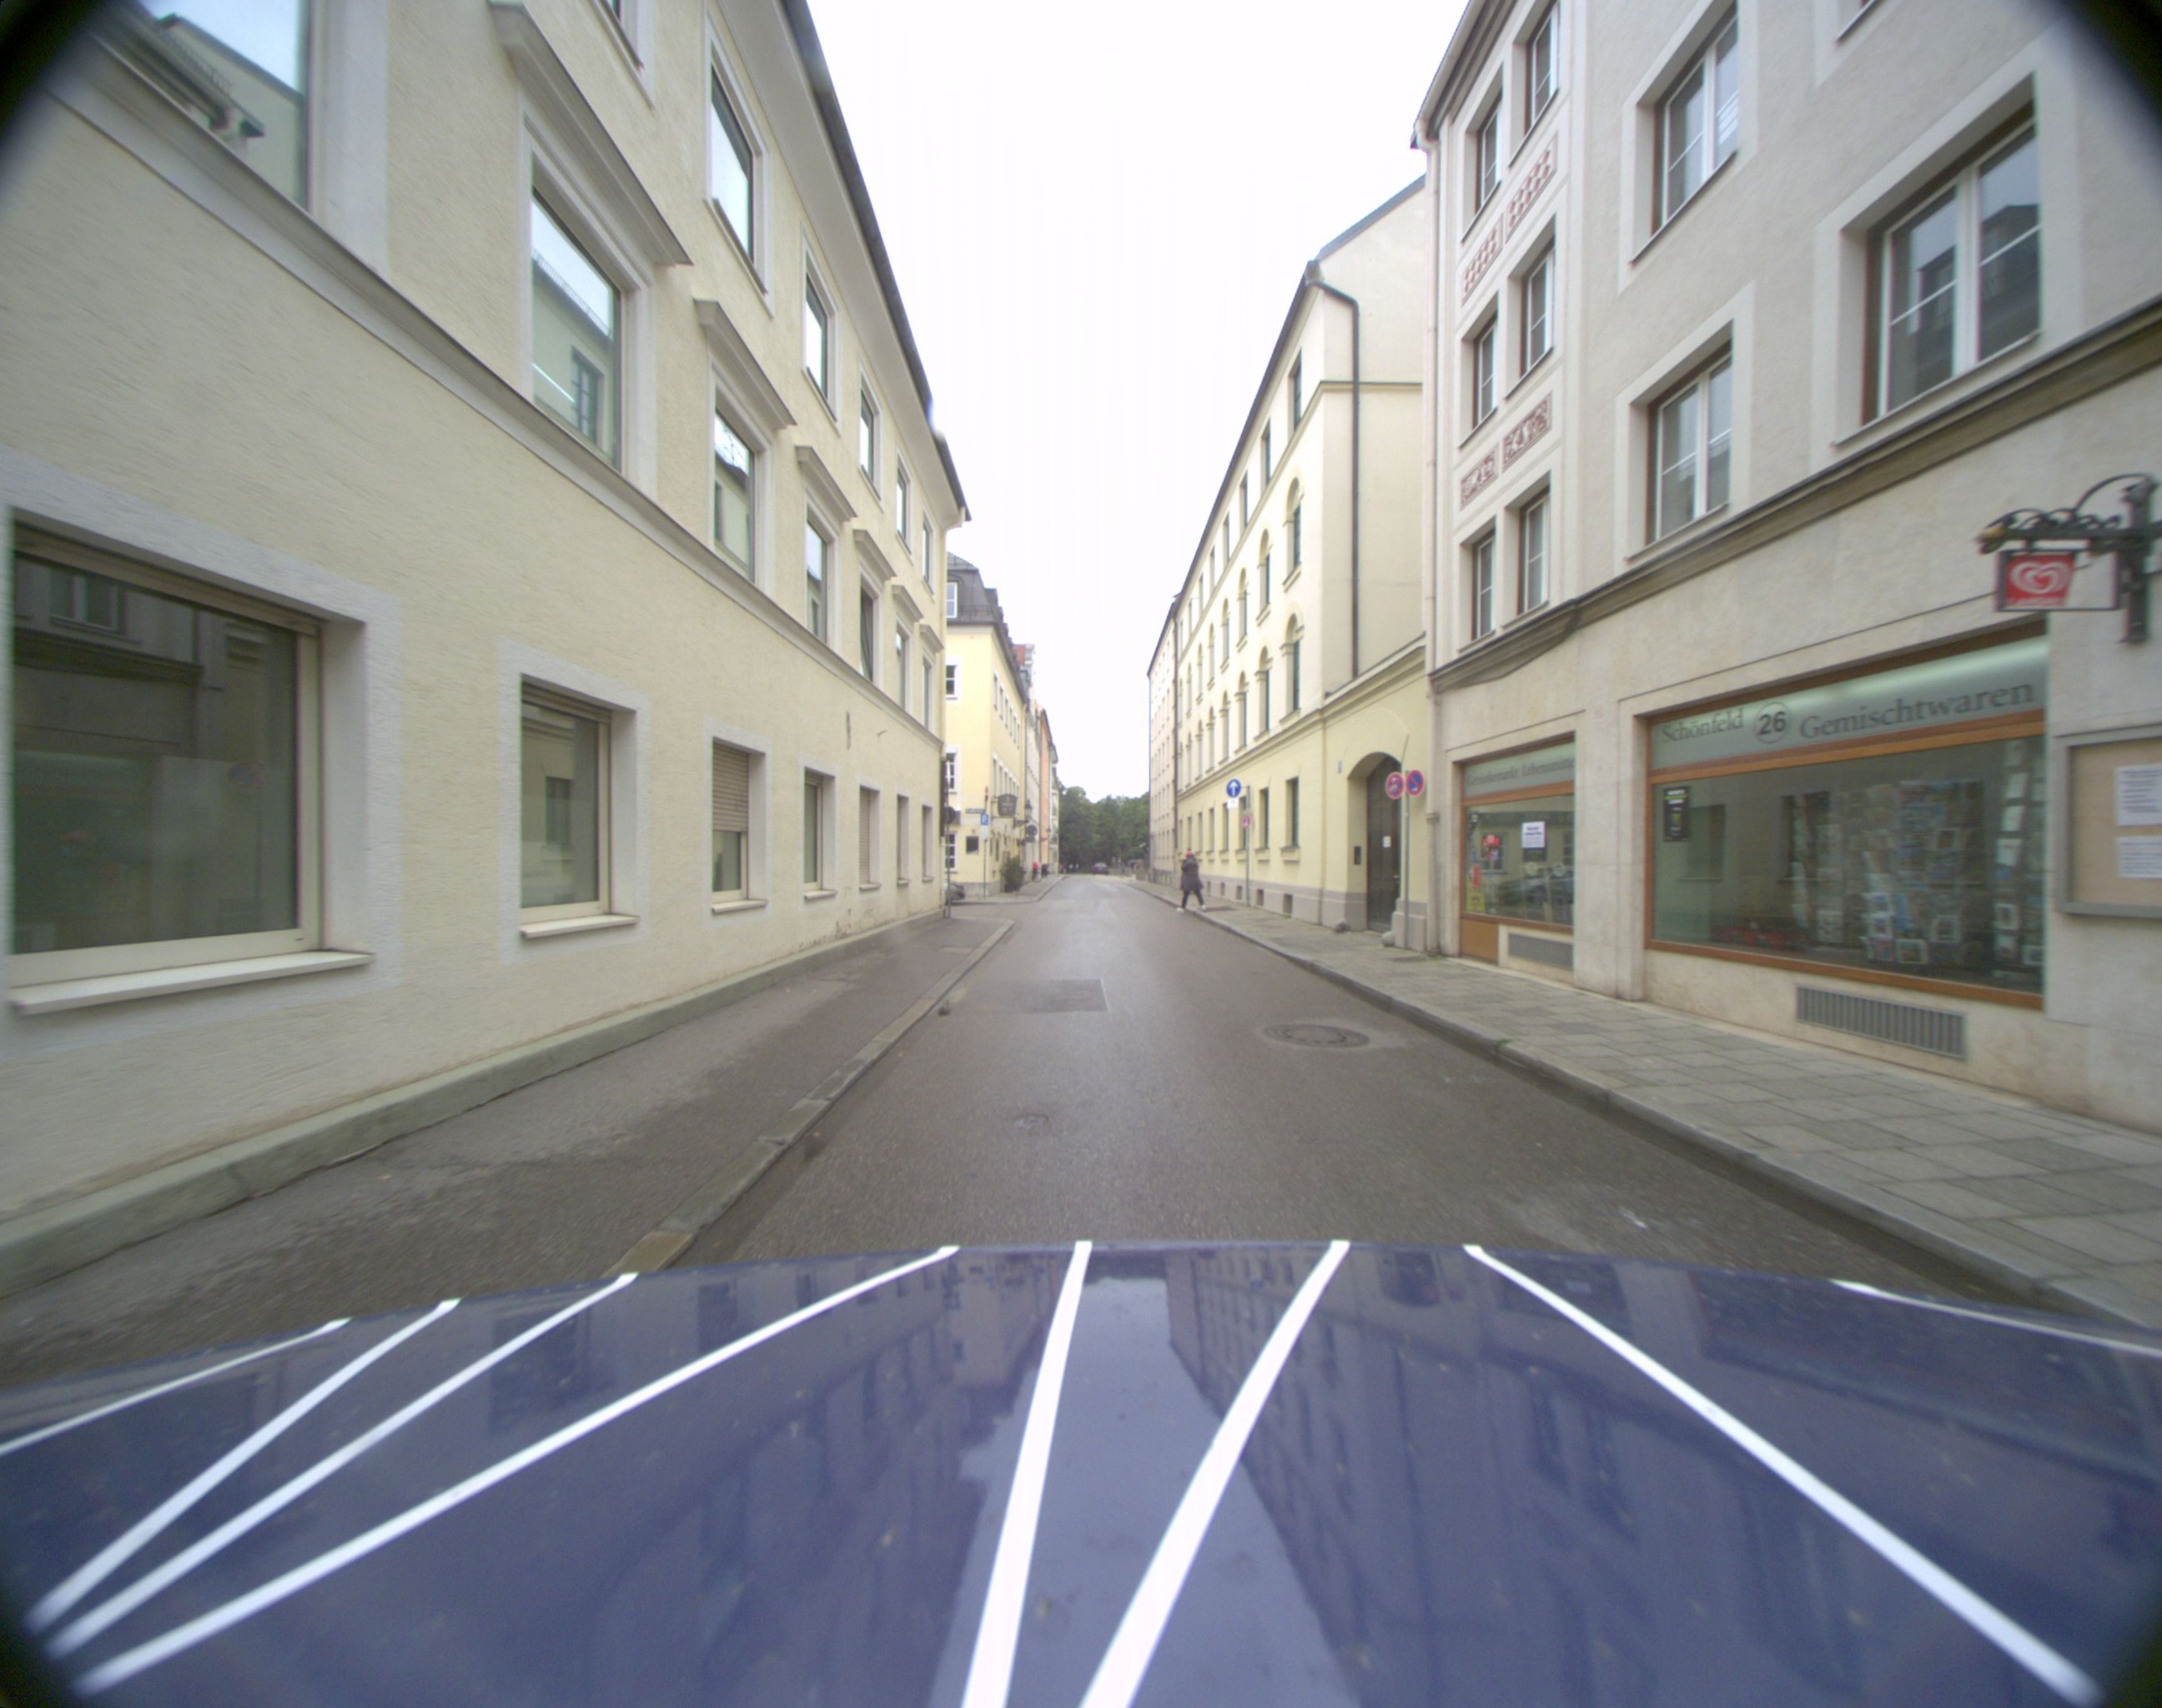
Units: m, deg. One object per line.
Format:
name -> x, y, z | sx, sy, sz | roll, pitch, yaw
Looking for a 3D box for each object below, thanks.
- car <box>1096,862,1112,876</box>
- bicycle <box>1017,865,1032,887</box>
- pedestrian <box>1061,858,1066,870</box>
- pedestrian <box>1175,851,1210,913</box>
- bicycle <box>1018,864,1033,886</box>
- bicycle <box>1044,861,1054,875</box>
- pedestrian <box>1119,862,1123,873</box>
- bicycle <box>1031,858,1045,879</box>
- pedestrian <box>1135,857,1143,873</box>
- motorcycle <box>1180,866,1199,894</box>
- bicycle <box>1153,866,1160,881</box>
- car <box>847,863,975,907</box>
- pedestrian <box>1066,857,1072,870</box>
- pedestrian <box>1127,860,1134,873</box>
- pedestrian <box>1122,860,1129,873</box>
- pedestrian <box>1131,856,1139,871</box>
car -> 2.768, 1.765, 90.777 | 1.816, 1.584, 4.001 | 1, -1, 1
bicycle -> -2.909, 1.126, 39.336 | 0.567, 1.130, 1.684 | 2, 0, 1
pedestrian -> -2.485, 1.364, 106.604 | 0.753, 1.670, 0.656 | 0, -1, -1
pedestrian -> 3.227, 0.812, 22.118 | 0.811, 1.745, 0.990 | -1, -1, -2
bicycle -> -3.032, 1.141, 41.417 | 0.567, 1.130, 1.988 | 2, 0, 1
bicycle -> -2.900, 1.245, 69.448 | 0.681, 1.233, 2.383 | 4, -1, 2
pedestrian -> 6.380, 2.151, 120.586 | 0.625, 1.758, 0.767 | 0, -1, 0
bicycle -> -2.959, 1.020, 52.503 | 0.715, 1.388, 2.122 | 3, 0, 3
pedestrian -> 6.459, 1.232, 84.449 | 0.826, 1.712, 0.906 | -2, -1, 5
motorcycle -> 4.713, 1.111, 33.181 | 0.603, 1.167, 1.708 | -1, 0, 1
bicycle -> 5.104, 1.330, 51.535 | 0.320, 0.938, 1.574 | -3, 0, 2
car -> -5.876, 1.085, 26.499 | 4.024, 1.432, 1.765 | -1, -2, 2
pedestrian -> -1.669, 1.348, 106.808 | 0.753, 1.725, 0.853 | 0, -1, -1
pedestrian -> 5.863, 1.461, 89.746 | 0.779, 1.530, 0.933 | -2, -1, 2
pedestrian -> 4.970, 1.409, 84.952 | 0.640, 1.458, 1.079 | -2, -1, 1
pedestrian -> 7.677, 1.329, 108.104 | 1.226, 2.091, 1.117 | 0, -1, 2
